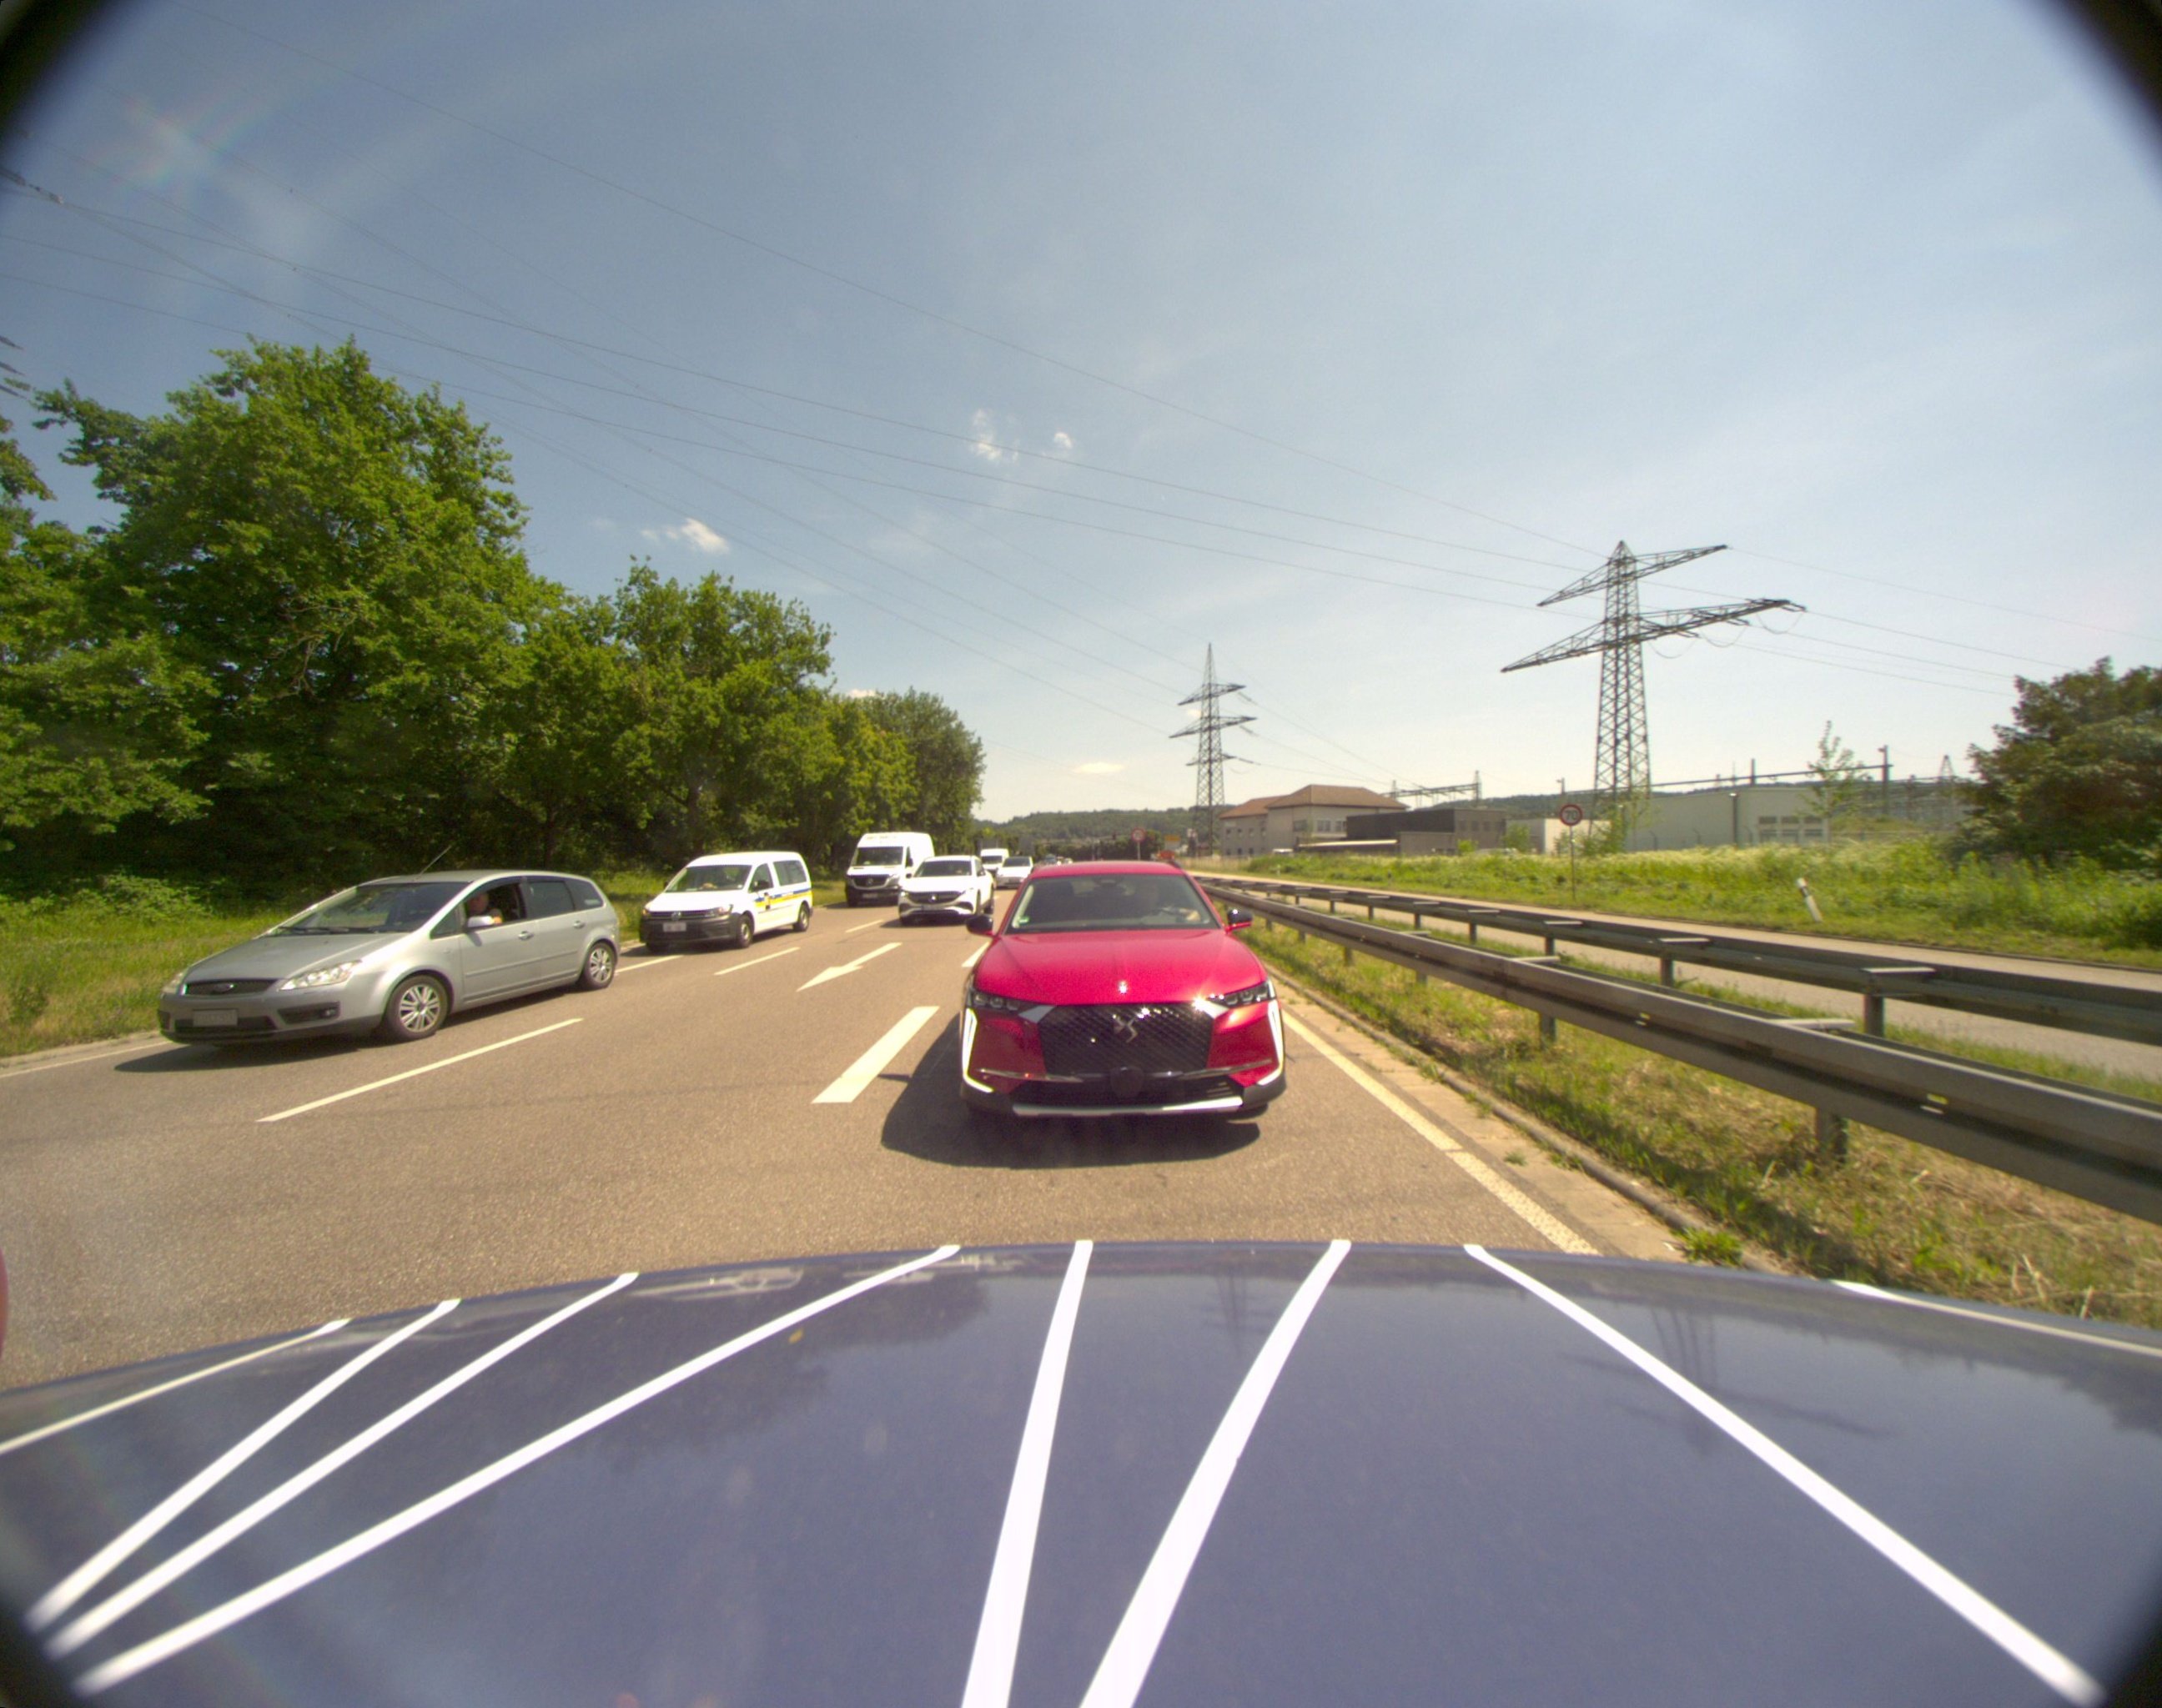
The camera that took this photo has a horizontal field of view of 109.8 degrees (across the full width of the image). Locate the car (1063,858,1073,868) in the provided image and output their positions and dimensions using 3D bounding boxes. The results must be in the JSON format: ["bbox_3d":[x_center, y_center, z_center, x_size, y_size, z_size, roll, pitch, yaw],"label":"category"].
[{"bbox_3d":[-2.518,1.694,147.682,1.878,1.674,3.998,-2,1,-2],"label":"car"}]

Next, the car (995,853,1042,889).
[{"bbox_3d":[-3.085,0.805,38.350,2.022,1.671,3.999,-2,0,-1],"label":"car"}]

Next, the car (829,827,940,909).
[{"bbox_3d":[-7.061,0.445,28.312,2.232,2.592,7.018,-2,0,0],"label":"car"}]

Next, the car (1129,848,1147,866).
[{"bbox_3d":[9.795,0.434,130.227,2.607,3.043,5.638,0,0,0],"label":"car"}]

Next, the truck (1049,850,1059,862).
[{"bbox_3d":[-6.321,0.454,177.636,2.170,2.428,4.909,-2,1,-2],"label":"truck"}]

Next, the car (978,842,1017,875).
[{"bbox_3d":[-6.537,0.340,60.188,2.308,2.408,5.814,-2,0,1],"label":"car"}]

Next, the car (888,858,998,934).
[{"bbox_3d":[-3.278,0.939,18.924,1.850,1.559,4.363,-2,0,1],"label":"car"}]

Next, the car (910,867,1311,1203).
[{"bbox_3d":[0.167,0.895,5.797,1.846,1.453,4.414,-2,0,1],"label":"car"}]

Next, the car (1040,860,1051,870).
[{"bbox_3d":[-6.388,2.019,138.183,1.878,1.674,3.998,-2,1,-2],"label":"car"}]

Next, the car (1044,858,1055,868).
[{"bbox_3d":[-6.507,1.857,157.768,1.998,1.808,3.999,-2,1,1],"label":"car"}]

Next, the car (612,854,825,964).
[{"bbox_3d":[-6.976,0.927,15.360,1.809,1.790,5.037,-2,0,0],"label":"car"}]

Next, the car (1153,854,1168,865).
[{"bbox_3d":[14.122,1.001,135.541,1.999,1.904,3.998,-2,1,-3],"label":"car"}]

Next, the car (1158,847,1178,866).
[{"bbox_3d":[14.315,0.395,125.758,2.607,3.043,5.638,0,0,0],"label":"car"}]

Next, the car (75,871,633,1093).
[{"bbox_3d":[-6.972,1.059,8.107,1.747,1.585,4.272,-2,0,1],"label":"car"}]
